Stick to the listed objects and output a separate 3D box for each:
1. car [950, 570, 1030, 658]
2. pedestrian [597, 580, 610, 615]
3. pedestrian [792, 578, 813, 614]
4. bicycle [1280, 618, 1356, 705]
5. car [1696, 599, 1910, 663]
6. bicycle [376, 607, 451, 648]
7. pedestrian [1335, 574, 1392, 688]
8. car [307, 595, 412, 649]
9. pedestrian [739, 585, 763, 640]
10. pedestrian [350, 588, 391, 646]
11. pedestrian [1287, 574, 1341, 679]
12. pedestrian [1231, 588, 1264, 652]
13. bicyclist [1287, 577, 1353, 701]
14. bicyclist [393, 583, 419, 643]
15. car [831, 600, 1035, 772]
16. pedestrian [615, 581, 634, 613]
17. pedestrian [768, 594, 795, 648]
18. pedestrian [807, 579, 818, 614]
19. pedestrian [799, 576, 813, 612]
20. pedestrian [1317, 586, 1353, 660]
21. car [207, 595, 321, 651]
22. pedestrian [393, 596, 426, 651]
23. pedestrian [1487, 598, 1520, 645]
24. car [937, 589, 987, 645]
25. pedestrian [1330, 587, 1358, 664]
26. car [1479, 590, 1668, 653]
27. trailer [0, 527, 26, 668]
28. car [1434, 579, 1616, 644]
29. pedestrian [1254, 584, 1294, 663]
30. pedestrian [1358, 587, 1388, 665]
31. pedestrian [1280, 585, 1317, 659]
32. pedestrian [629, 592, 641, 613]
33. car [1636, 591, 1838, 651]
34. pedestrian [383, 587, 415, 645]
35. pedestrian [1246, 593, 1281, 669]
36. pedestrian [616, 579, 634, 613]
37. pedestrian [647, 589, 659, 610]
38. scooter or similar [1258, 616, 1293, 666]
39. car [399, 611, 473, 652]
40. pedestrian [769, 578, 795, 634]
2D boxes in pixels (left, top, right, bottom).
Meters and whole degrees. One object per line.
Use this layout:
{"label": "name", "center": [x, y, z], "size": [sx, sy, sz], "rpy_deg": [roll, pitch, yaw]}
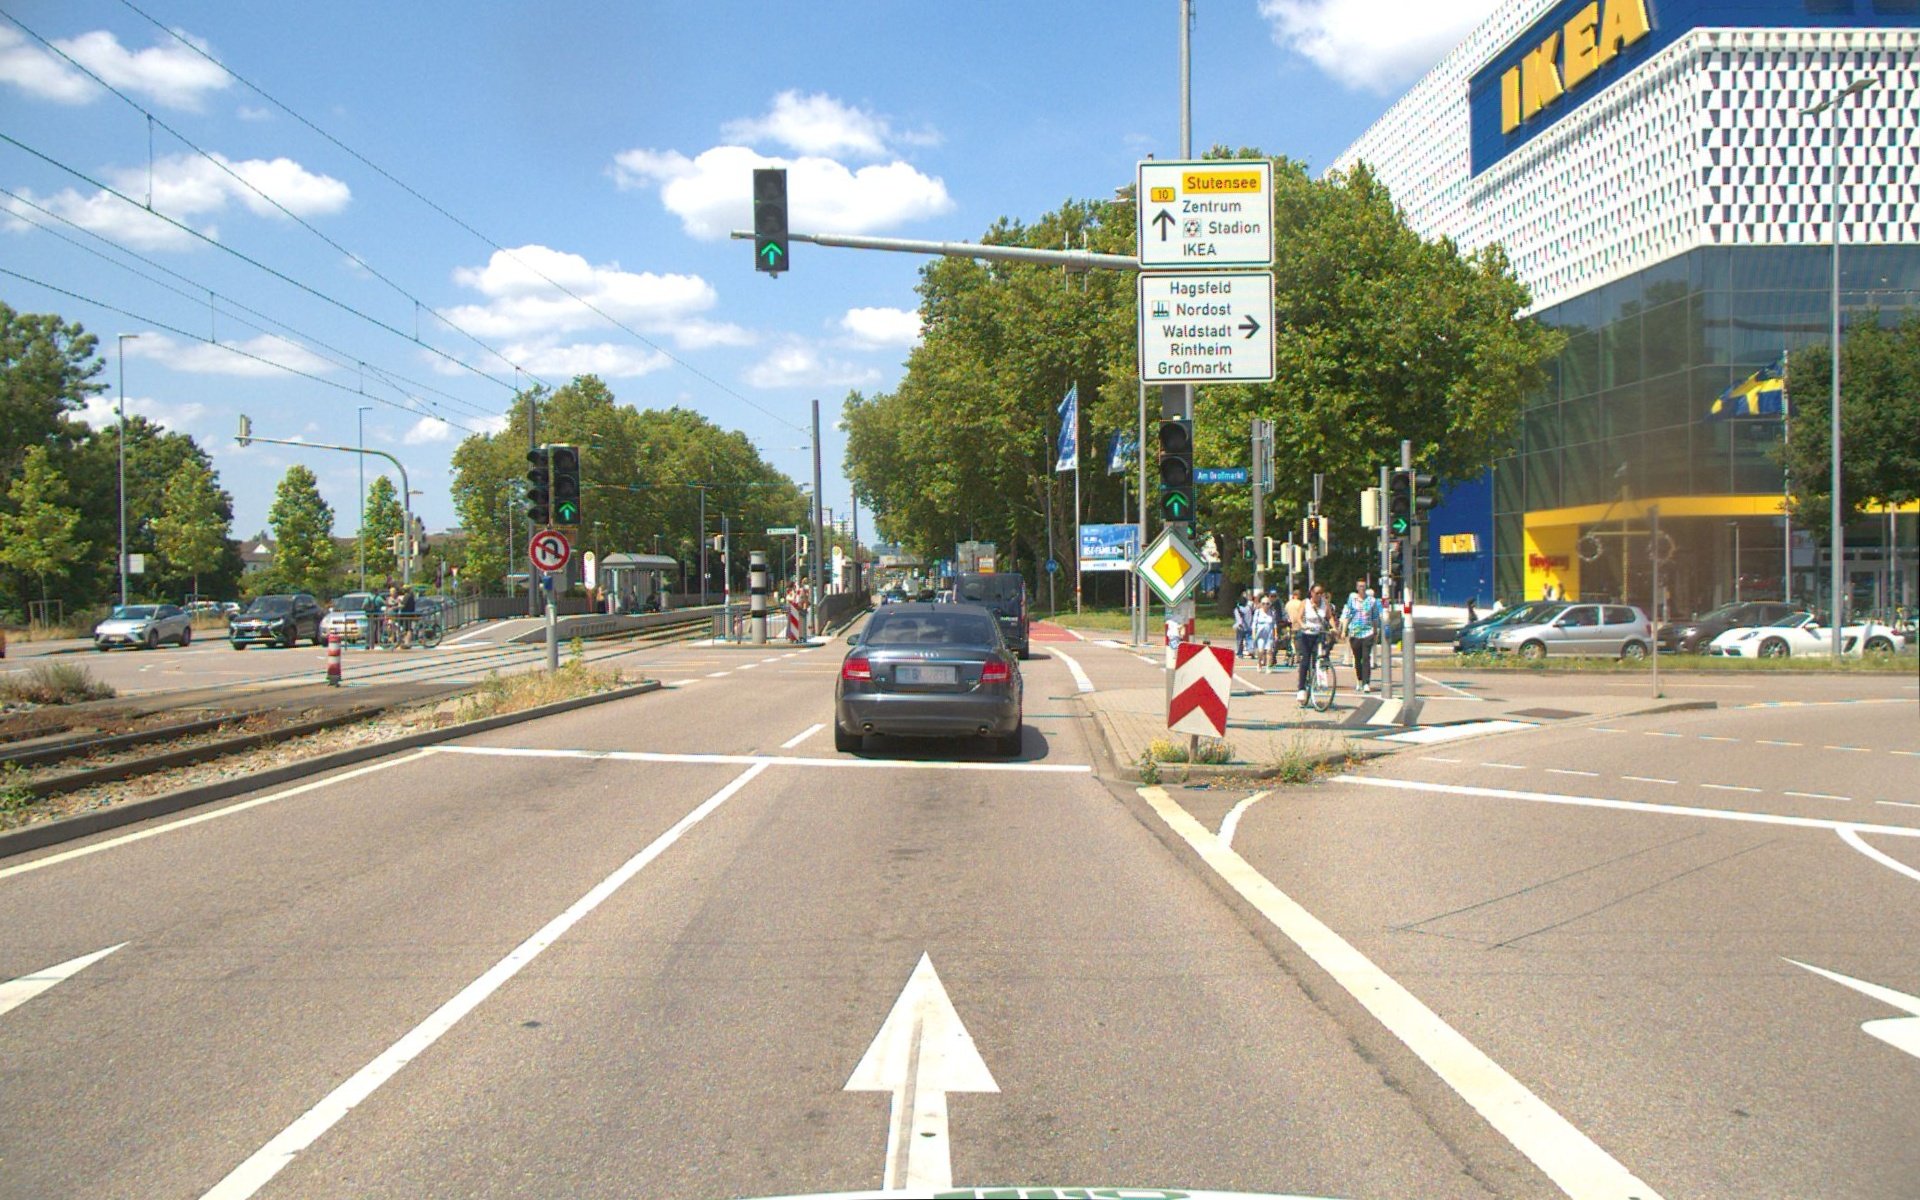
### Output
{"label": "car", "center": [0.683, 0.306, 40.106], "size": [1.811, 1.993, 4.144], "rpy_deg": [1, 0, 0]}
{"label": "pedestrian", "center": [-17.288, -0.111, 80.154], "size": [0.547, 1.666, 0.805], "rpy_deg": [0, 0, -9]}
{"label": "pedestrian", "center": [-7.119, -0.190, 74.730], "size": [0.872, 1.633, 0.923], "rpy_deg": [0, 1, -3]}
{"label": "bicycle", "center": [5.059, 0.852, 23.487], "size": [0.811, 1.182, 1.880], "rpy_deg": [0, -1, 5]}
{"label": "car", "center": [19.788, 0.718, 38.939], "size": [4.132, 1.422, 1.804], "rpy_deg": [1, 0, 0]}
{"label": "bicycle", "center": [-15.185, 0.759, 45.987], "size": [1.940, 1.120, 0.761], "rpy_deg": [0, 0, -18]}
{"label": "pedestrian", "center": [6.813, 0.510, 27.972], "size": [0.787, 1.897, 0.798], "rpy_deg": [0, 0, 2]}
{"label": "car", "center": [-19.337, 0.679, 53.416], "size": [1.953, 1.657, 3.999], "rpy_deg": [0, 0, -1]}
{"label": "pedestrian", "center": [-6.507, 0.396, 51.535], "size": [0.718, 1.702, 0.678], "rpy_deg": [0, 0, -5]}
{"label": "pedestrian", "center": [-16.741, 0.473, 46.989], "size": [0.938, 1.638, 0.763], "rpy_deg": [0, 0, -5]}
{"label": "pedestrian", "center": [6.190, 0.454, 28.918], "size": [0.787, 1.790, 0.798], "rpy_deg": [0, 0, 2]}
{"label": "pedestrian", "center": [7.459, 0.501, 42.856], "size": [0.749, 1.634, 0.897], "rpy_deg": [0, 0, 16]}
{"label": "bicyclist", "center": [5.114, 0.554, 23.534], "size": [0.797, 1.731, 0.799], "rpy_deg": [0, -2, 2]}
{"label": "bicyclist", "center": [-15.370, 0.363, 45.918], "size": [0.654, 1.643, 0.730], "rpy_deg": [1, 0, -18]}
{"label": "car", "center": [-0.243, 0.772, 16.823], "size": [1.805, 1.510, 4.000], "rpy_deg": [1, 0, 0]}
{"label": "pedestrian", "center": [-17.668, -0.162, 87.015], "size": [0.811, 1.667, 0.576], "rpy_deg": [0, 1, 35]}
{"label": "pedestrian", "center": [-5.408, 0.636, 50.136], "size": [0.770, 1.600, 0.764], "rpy_deg": [0, 0, -5]}
{"label": "pedestrian", "center": [-6.835, -0.171, 76.578], "size": [0.487, 1.605, 0.556], "rpy_deg": [0, 0, -4]}
{"label": "pedestrian", "center": [-7.250, -0.289, 77.899], "size": [0.601, 1.710, 0.719], "rpy_deg": [0, 0, -4]}
{"label": "pedestrian", "center": [8.692, 0.525, 38.321], "size": [0.778, 1.688, 0.853], "rpy_deg": [0, 0, 15]}
{"label": "car", "center": [-22.020, 0.701, 52.489], "size": [1.953, 1.657, 3.999], "rpy_deg": [0, 1, -1]}
{"label": "pedestrian", "center": [-16.040, 0.684, 48.233], "size": [0.747, 1.575, 0.763], "rpy_deg": [0, 0, -4]}
{"label": "pedestrian", "center": [18.865, 0.744, 57.454], "size": [0.900, 1.614, 0.632], "rpy_deg": [0, 0, -7]}
{"label": "car", "center": [0.062, 0.607, 62.199], "size": [1.811, 1.993, 4.144], "rpy_deg": [1, 0, 0]}
{"label": "pedestrian", "center": [8.399, 0.549, 36.197], "size": [0.593, 1.666, 0.864], "rpy_deg": [0, -1, 13]}
{"label": "car", "center": [14.289, 0.485, 38.654], "size": [3.745, 1.421, 1.804], "rpy_deg": [1, 0, 0]}
{"label": "trailer", "center": [-27.660, -0.035, 39.538], "size": [3.054, 3.938, 15.467], "rpy_deg": [0, 0, -5]}
{"label": "car", "center": [14.287, 0.291, 41.962], "size": [3.908, 1.583, 1.999], "rpy_deg": [0, 0, -4]}
{"label": "pedestrian", "center": [6.903, 0.512, 36.341], "size": [0.765, 1.702, 0.947], "rpy_deg": [0, 0, 5]}
{"label": "pedestrian", "center": [8.985, 0.558, 35.994], "size": [0.589, 1.666, 0.864], "rpy_deg": [0, -1, 13]}
{"label": "pedestrian", "center": [7.854, 0.494, 38.349], "size": [0.778, 1.688, 0.853], "rpy_deg": [0, 0, 15]}
{"label": "pedestrian", "center": [-17.614, 0.115, 89.672], "size": [0.565, 1.114, 0.639], "rpy_deg": [-1, 1, -2]}
{"label": "car", "center": [19.885, 0.536, 42.433], "size": [4.312, 1.468, 1.852], "rpy_deg": [0, 0, -3]}
{"label": "pedestrian", "center": [-16.795, 0.478, 49.540], "size": [0.747, 1.701, 0.763], "rpy_deg": [0, 0, -4]}
{"label": "pedestrian", "center": [6.165, 0.623, 33.654], "size": [0.577, 1.501, 0.806], "rpy_deg": [1, 0, 3]}
{"label": "pedestrian", "center": [-17.314, -0.201, 85.474], "size": [0.724, 1.759, 0.576], "rpy_deg": [0, 1, 35]}
{"label": "pedestrian", "center": [-18.040, -0.033, 97.265], "size": [0.565, 1.211, 0.639], "rpy_deg": [-1, 1, -2]}
{"label": "scooter or similar", "center": [6.820, 0.871, 35.774], "size": [0.675, 1.049, 0.863], "rpy_deg": [0, 0, 6]}
{"label": "car", "center": [-22.616, 1.336, 71.499], "size": [1.953, 1.657, 3.999], "rpy_deg": [0, 0, -1]}
{"label": "pedestrian", "center": [-5.872, 0.192, 54.551], "size": [0.846, 1.833, 0.882], "rpy_deg": [0, 0, -6]}
